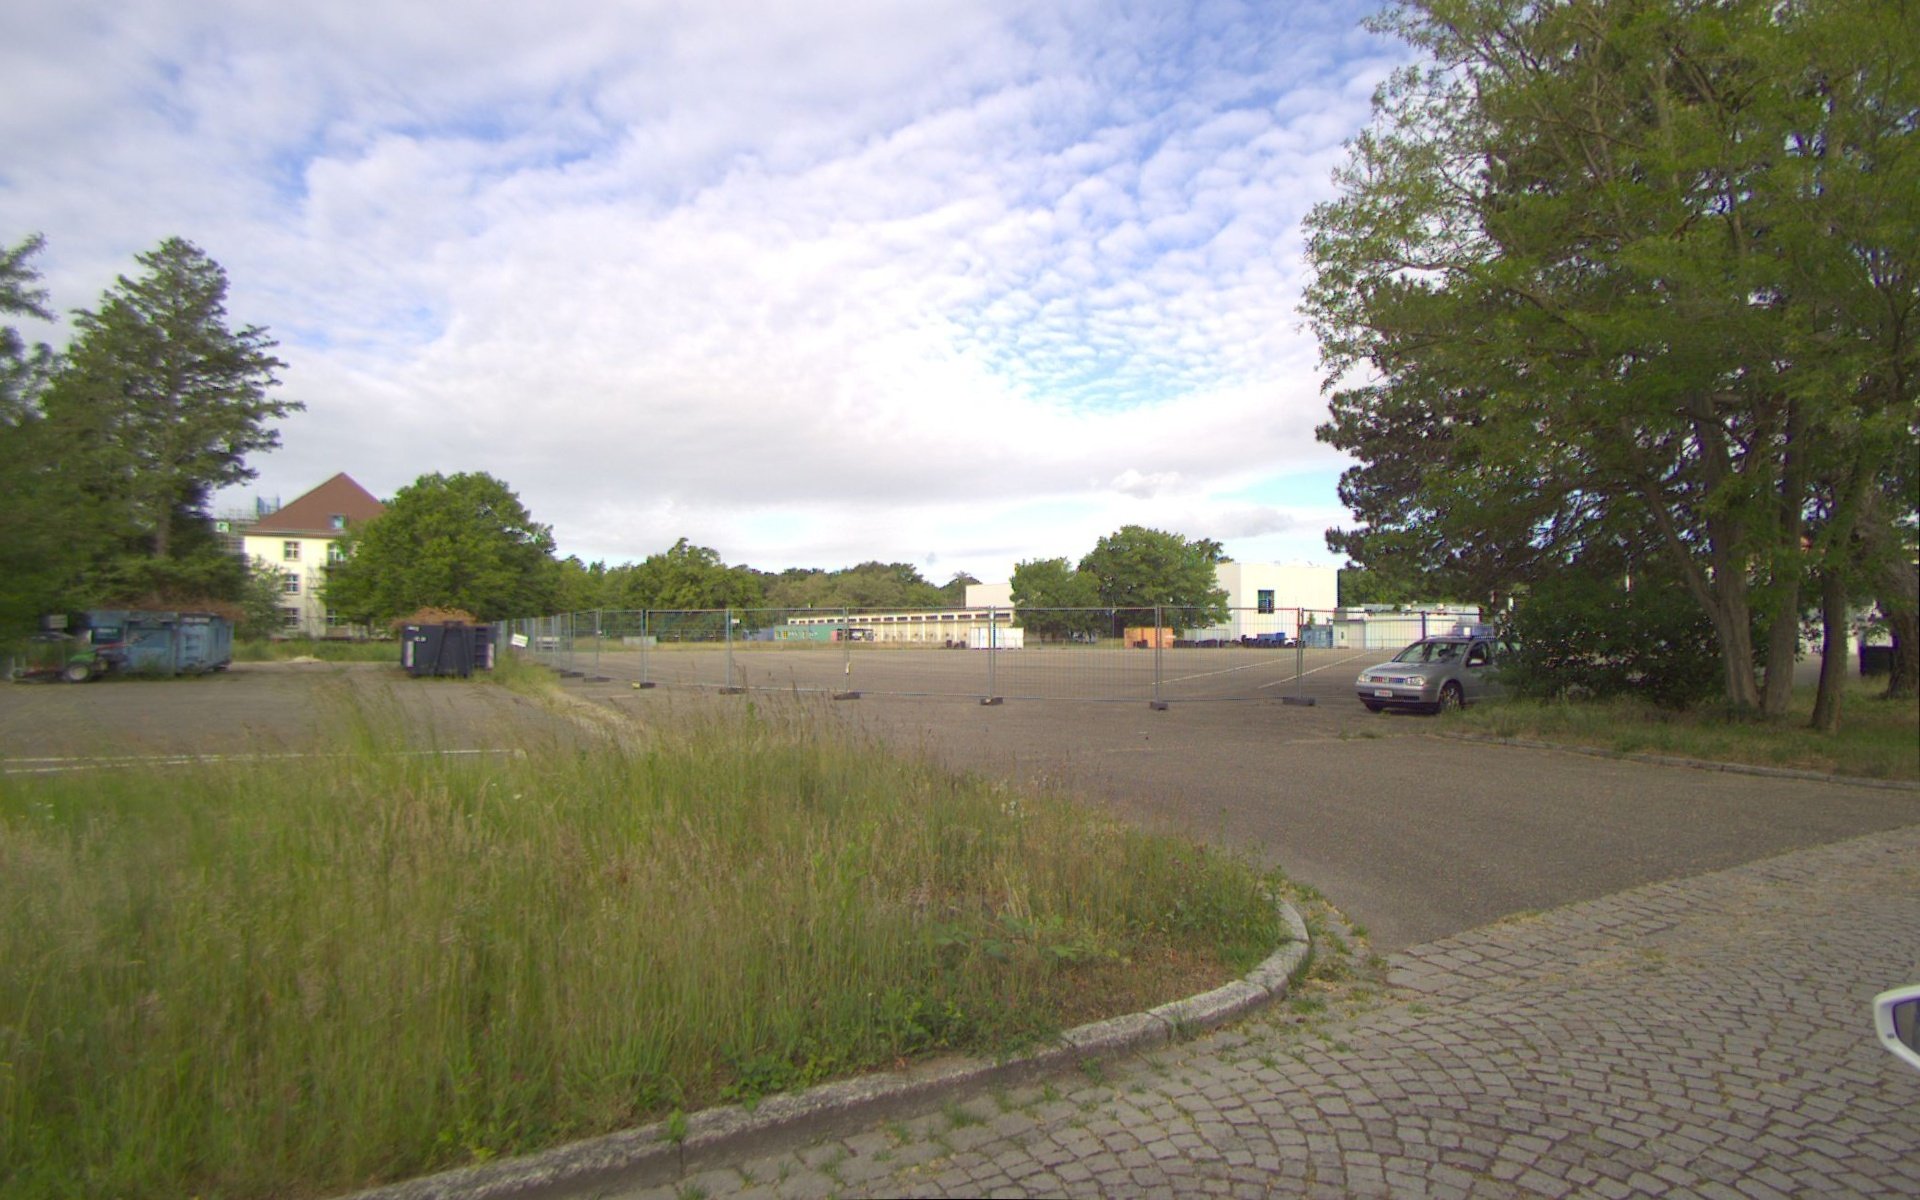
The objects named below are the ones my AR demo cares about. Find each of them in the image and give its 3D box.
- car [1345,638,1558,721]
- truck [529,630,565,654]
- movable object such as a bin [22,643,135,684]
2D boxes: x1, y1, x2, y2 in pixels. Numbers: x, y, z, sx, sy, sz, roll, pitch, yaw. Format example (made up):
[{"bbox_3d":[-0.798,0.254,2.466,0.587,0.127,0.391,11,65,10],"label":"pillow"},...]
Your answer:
[{"bbox_3d":[9.673,1.477,19.655,4.418,1.457,1.706,1,-2,-32],"label":"car"},{"bbox_3d":[-39.388,3.991,95.632,2.346,2.227,6.504,1,-2,-30],"label":"truck"},{"bbox_3d":[-21.049,1.507,24.052,1.918,0.945,1.031,2,-3,-37],"label":"movable object such as a bin"}]
